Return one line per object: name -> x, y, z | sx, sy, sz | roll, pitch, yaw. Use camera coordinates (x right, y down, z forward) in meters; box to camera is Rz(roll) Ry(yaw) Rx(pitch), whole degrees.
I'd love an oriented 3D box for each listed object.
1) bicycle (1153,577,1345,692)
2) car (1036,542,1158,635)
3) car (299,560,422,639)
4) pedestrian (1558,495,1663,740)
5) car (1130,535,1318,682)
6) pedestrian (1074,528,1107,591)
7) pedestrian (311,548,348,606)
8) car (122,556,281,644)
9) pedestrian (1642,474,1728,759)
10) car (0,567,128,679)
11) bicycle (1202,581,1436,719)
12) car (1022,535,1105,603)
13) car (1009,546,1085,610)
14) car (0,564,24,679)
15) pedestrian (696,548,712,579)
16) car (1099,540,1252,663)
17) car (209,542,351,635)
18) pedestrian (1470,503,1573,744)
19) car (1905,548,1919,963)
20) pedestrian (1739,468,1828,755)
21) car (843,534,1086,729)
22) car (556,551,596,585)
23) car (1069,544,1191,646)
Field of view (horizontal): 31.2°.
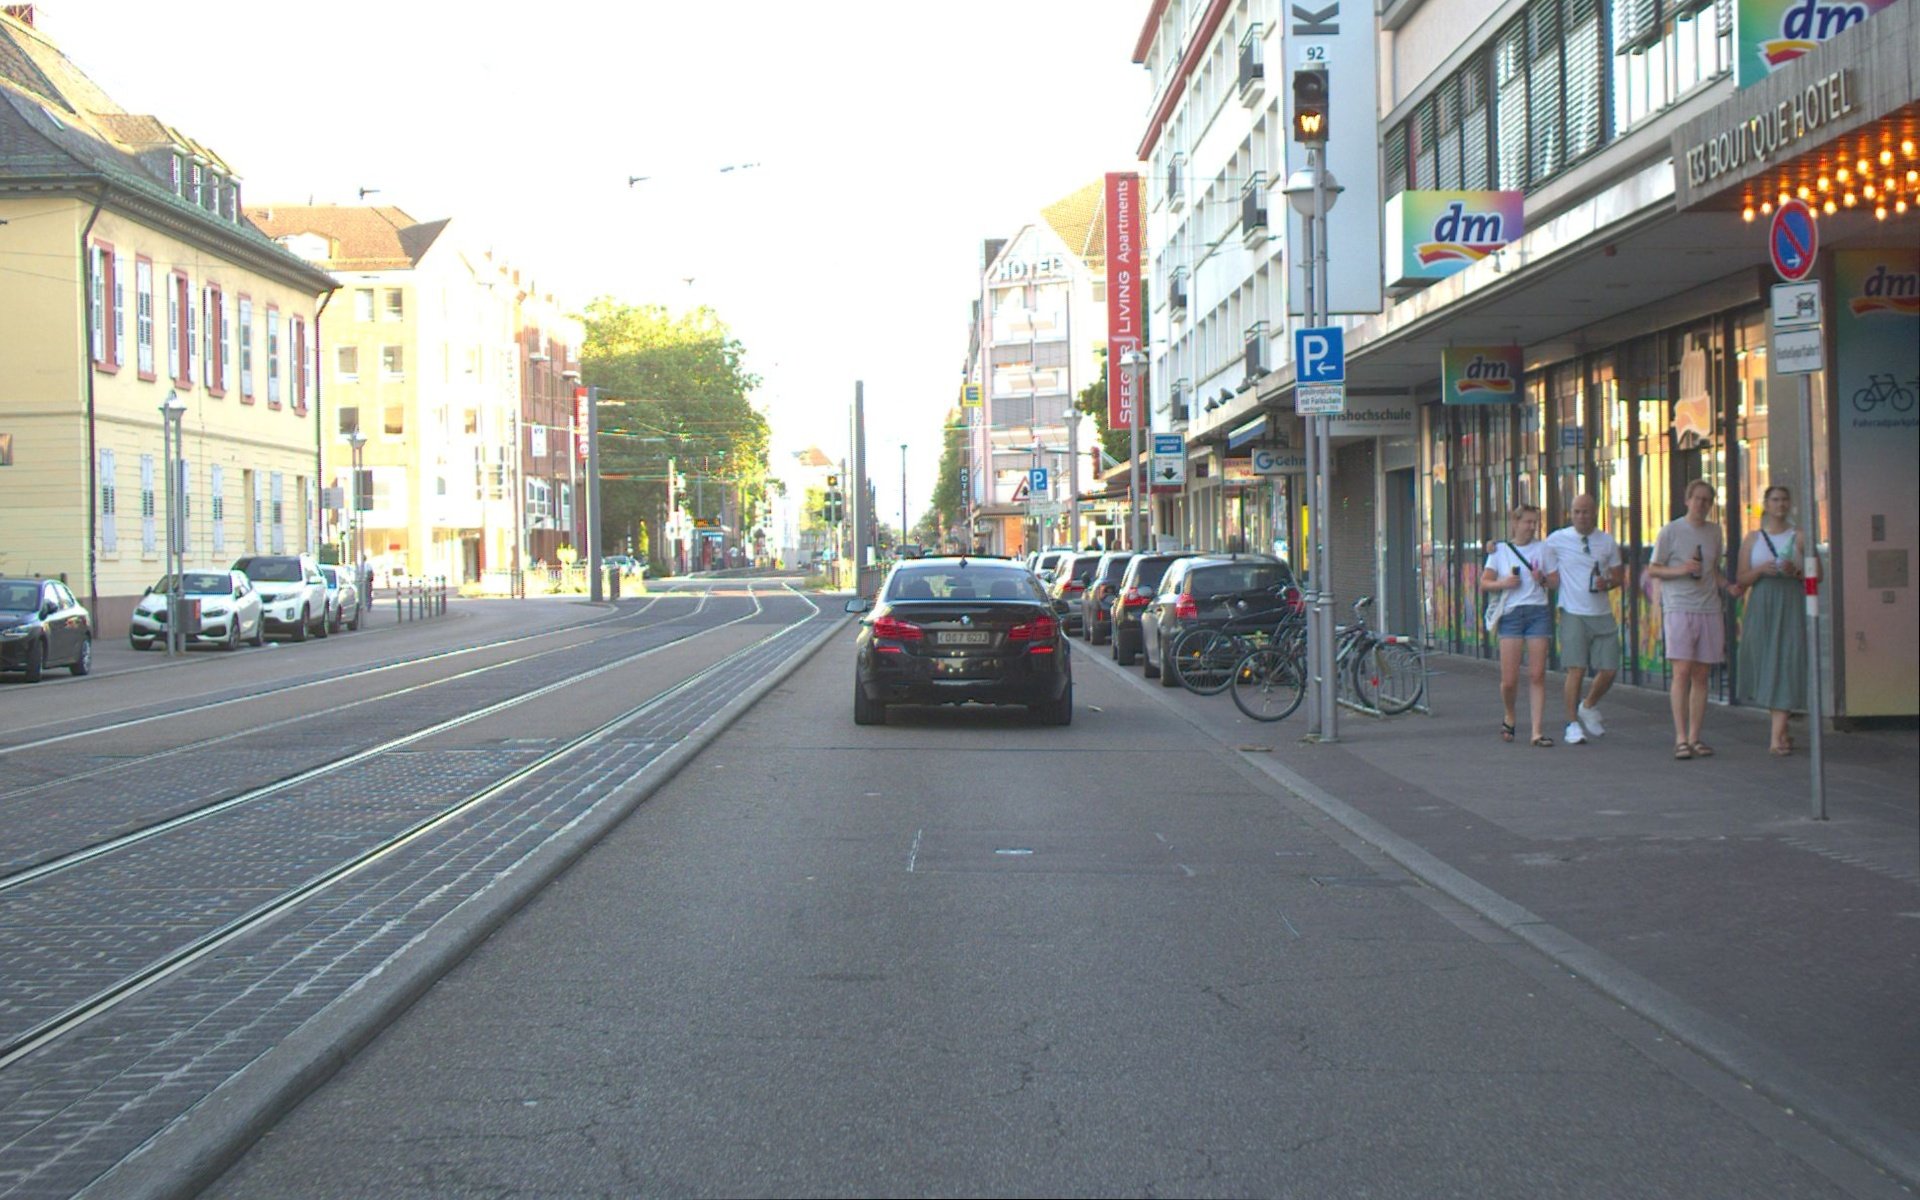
bicycle -> 2.981, 0.351, 35.541 | 1.885, 1.134, 0.676 | -1, 1, -3
car -> 2.386, -0.231, 61.069 | 1.790, 1.507, 4.712 | -2, 1, -2
car -> -12.992, -0.034, 74.730 | 1.812, 1.612, 4.215 | -1, 1, 1
pedestrian -> 4.722, 0.123, 24.989 | 0.608, 1.747, 0.605 | -1, 1, -1
car -> 2.934, 0.062, 39.006 | 1.744, 1.507, 4.258 | -2, 1, 0
pedestrian -> 3.663, -1.144, 96.560 | 0.827, 1.712, 0.843 | -2, 1, 0
pedestrian -> -17.383, -0.631, 94.791 | 0.951, 1.579, 0.733 | -1, 1, -7
car -> -13.850, -0.029, 63.004 | 1.812, 1.507, 4.432 | -1, 1, 1
pedestrian -> 4.879, 0.107, 23.153 | 0.455, 1.892, 0.421 | -1, 1, -1
car -> -13.336, 0.305, 49.477 | 1.685, 1.507, 4.215 | -1, 1, 0
bicycle -> 3.103, 0.428, 29.796 | 1.885, 1.073, 0.676 | -3, 1, -3
car -> 2.432, -0.758, 81.738 | 1.785, 1.507, 4.052 | -2, 1, 0
car -> 2.183, -0.582, 87.034 | 1.735, 1.507, 4.686 | -2, 1, 0
car -> -13.511, 0.325, 44.356 | 1.685, 1.507, 4.215 | -1, 1, 0
pedestrian -> -16.454, -2.361, 221.068 | 0.988, 2.007, 0.726 | 1, 0, -2
car -> 2.841, -0.017, 46.098 | 1.720, 1.507, 4.167 | -2, 1, 0
car -> -13.613, -0.265, 69.078 | 1.812, 1.779, 4.498 | -1, 1, 1
pedestrian -> 4.090, 0.161, 25.058 | 0.604, 1.721, 0.646 | -1, 1, -1
car -> 3.024, 0.649, 5.933 | 1.678, 1.537, 3.886 | -2, 1, 0
pedestrian -> 5.506, 0.071, 22.993 | 0.451, 1.892, 0.421 | -1, 1, -1
car -> 0.013, 0.228, 30.643 | 1.993, 1.579, 4.000 | -1, 1, -1
car -> -22.252, -1.850, 199.271 | 1.993, 1.895, 4.812 | -1, 1, -3
car -> 2.692, -0.112, 55.199 | 1.685, 1.507, 4.035 | -2, 1, 0
